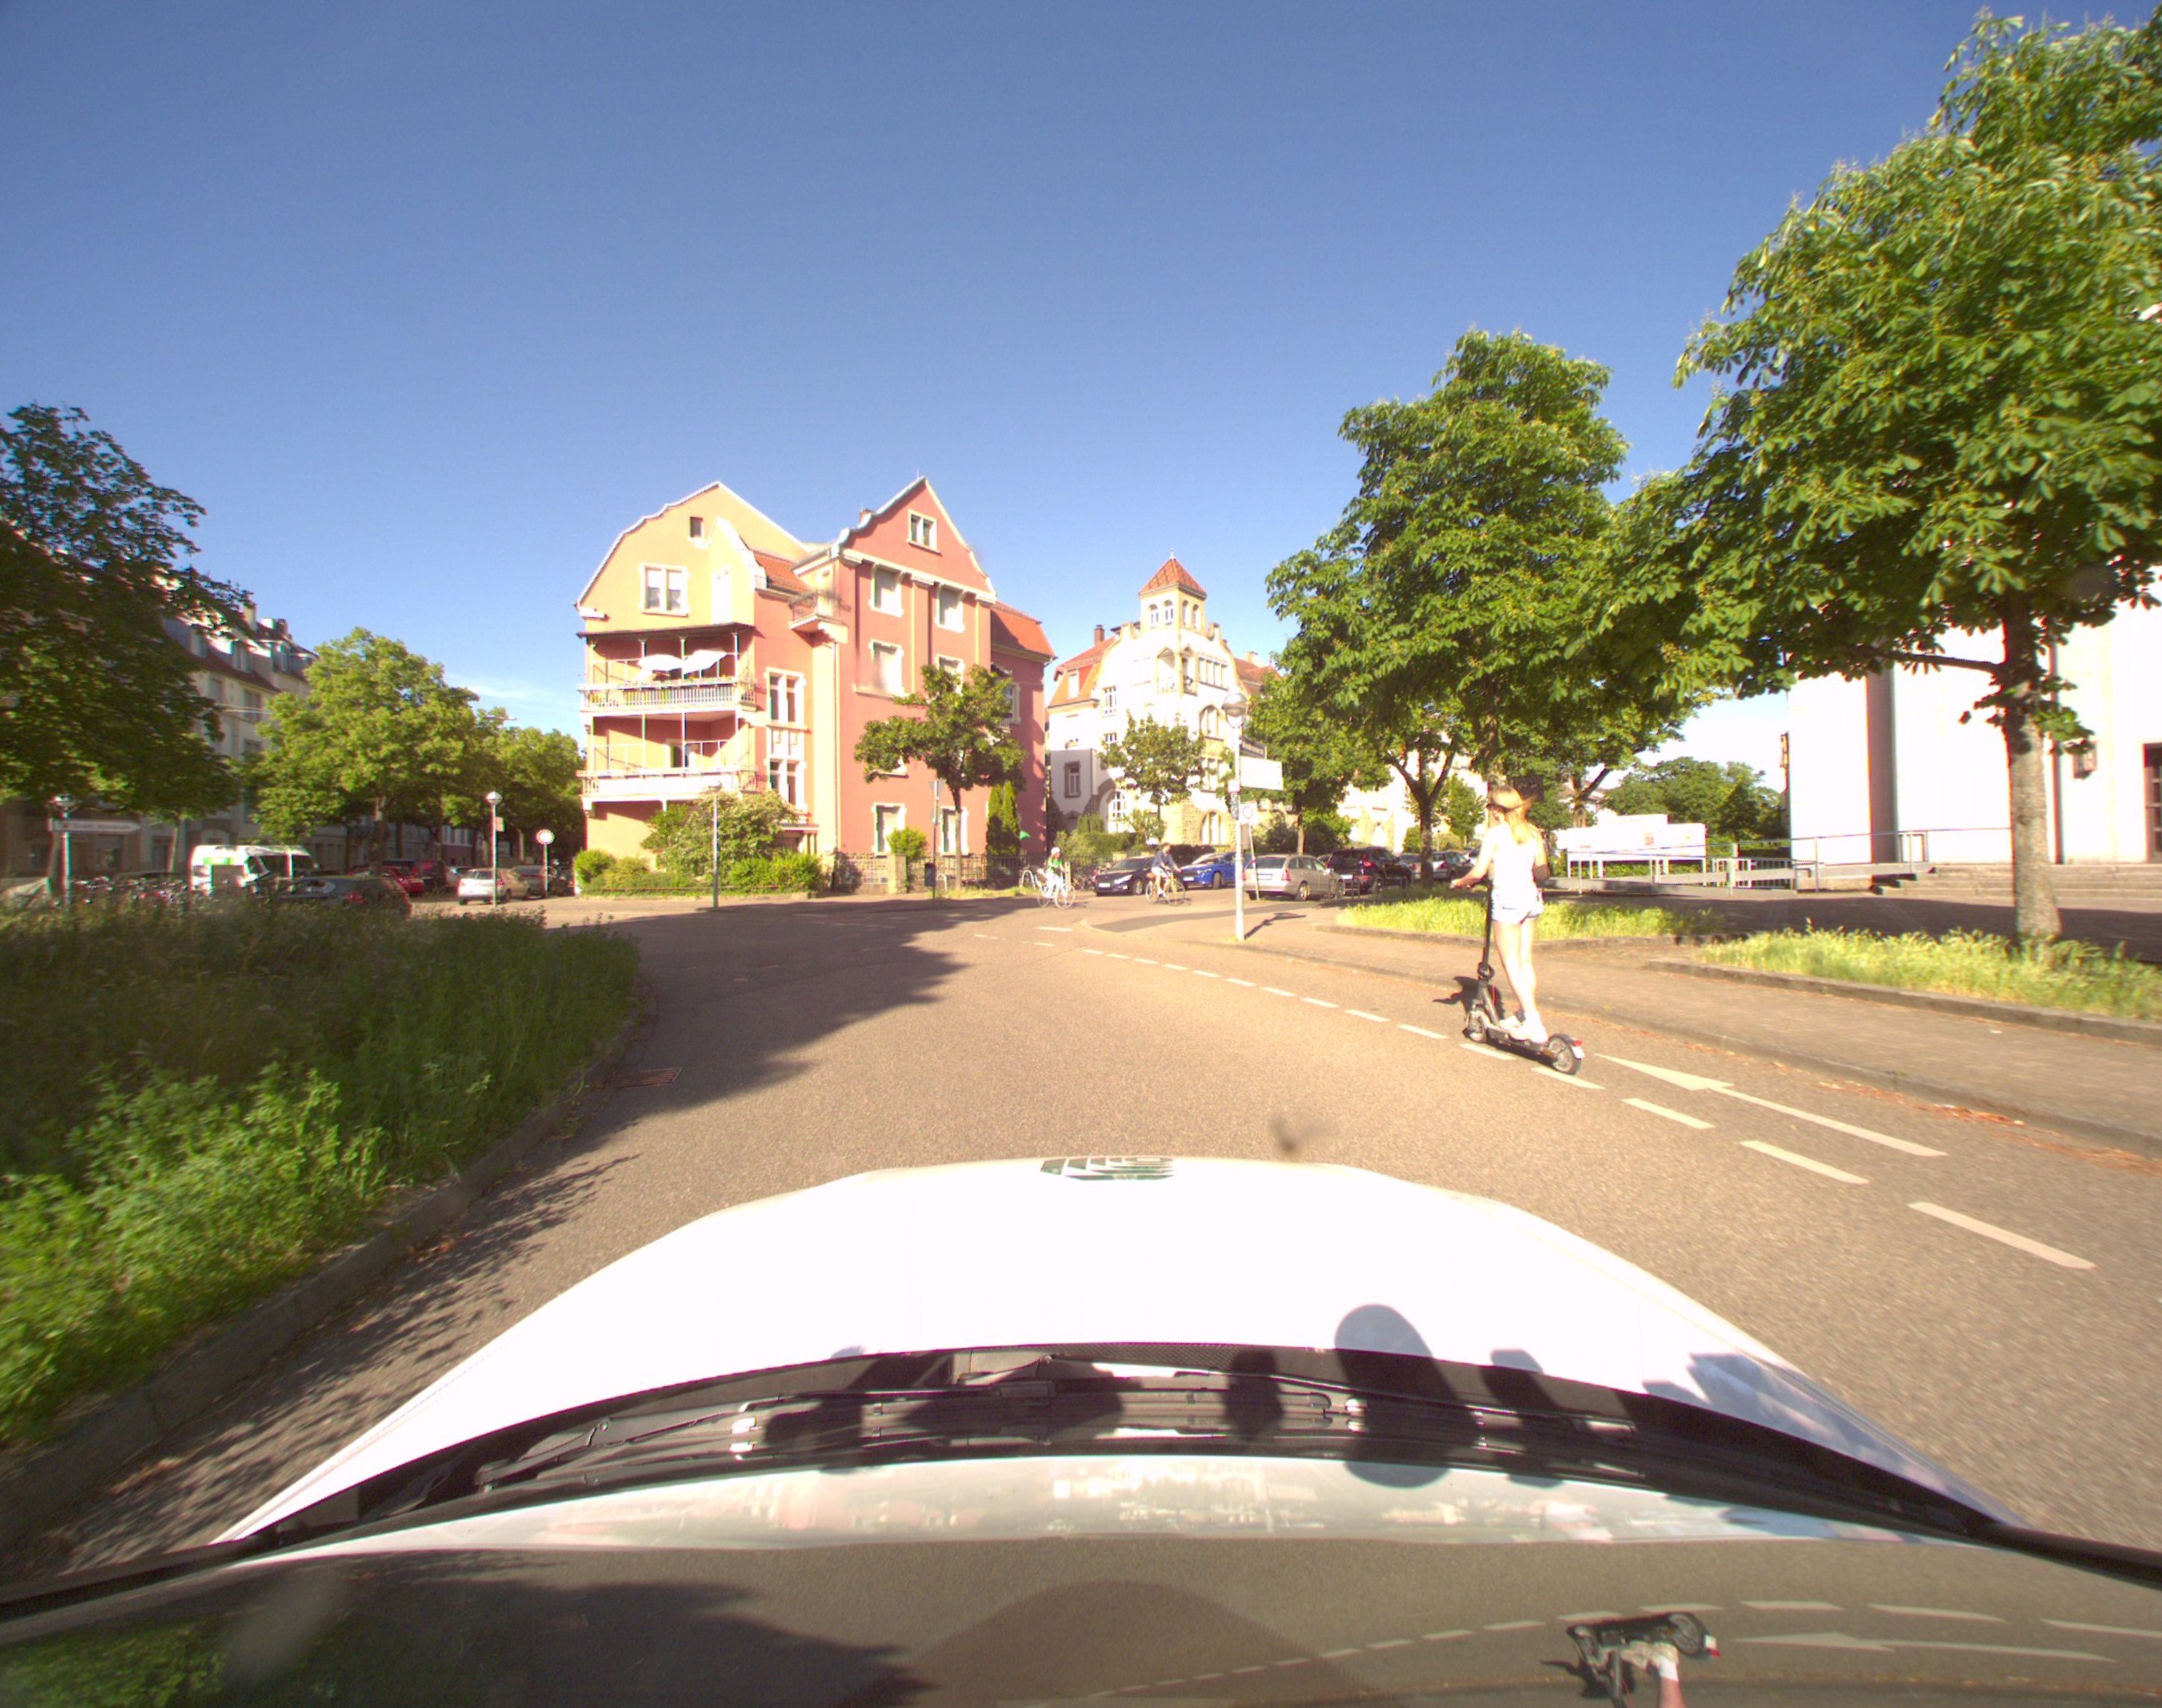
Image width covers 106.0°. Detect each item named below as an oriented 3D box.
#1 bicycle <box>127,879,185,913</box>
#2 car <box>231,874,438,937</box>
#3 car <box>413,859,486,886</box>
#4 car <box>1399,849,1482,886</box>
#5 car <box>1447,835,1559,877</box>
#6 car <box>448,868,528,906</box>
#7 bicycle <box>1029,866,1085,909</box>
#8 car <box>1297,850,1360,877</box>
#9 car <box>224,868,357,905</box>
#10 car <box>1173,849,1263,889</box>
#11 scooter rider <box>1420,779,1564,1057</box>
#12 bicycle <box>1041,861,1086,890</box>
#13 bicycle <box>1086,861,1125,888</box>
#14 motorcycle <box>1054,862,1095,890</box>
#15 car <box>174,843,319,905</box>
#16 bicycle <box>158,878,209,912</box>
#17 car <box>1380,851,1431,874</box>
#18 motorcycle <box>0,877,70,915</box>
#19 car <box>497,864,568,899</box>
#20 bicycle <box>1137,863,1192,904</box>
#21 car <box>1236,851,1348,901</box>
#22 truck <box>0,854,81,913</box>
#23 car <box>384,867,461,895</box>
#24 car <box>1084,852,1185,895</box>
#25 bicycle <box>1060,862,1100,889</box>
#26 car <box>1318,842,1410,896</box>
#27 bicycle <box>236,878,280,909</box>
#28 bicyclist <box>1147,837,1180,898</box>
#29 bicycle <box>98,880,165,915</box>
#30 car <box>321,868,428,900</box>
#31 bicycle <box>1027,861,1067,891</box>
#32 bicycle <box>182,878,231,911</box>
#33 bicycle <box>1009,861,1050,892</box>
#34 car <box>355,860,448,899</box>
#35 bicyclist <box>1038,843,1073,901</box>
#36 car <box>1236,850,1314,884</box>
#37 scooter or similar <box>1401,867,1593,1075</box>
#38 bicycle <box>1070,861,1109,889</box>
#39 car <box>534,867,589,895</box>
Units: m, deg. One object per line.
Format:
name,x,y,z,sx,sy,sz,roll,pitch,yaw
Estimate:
bicycle,-31.547,1.415,27.805,0.500,1.102,1.640,-2,0,-17
car,-19.238,1.295,21.072,3.962,1.419,1.877,0,2,10
car,-36.412,1.042,46.971,3.346,1.470,1.696,0,-1,18
car,15.491,0.547,35.010,4.364,1.474,1.787,0,0,-45
car,21.014,0.088,40.670,4.718,2.001,1.821,0,0,38
car,-24.267,1.296,33.462,1.688,1.447,3.522,1,-1,-20
bicycle,-0.679,0.918,22.559,0.598,1.107,1.843,-1,-1,-35
car,14.494,0.531,47.542,1.786,1.397,4.426,-4,-2,41
car,-31.939,1.294,32.967,3.891,1.447,1.690,0,-1,5
car,6.121,0.626,36.069,1.786,1.562,4.426,-4,-2,41
scooter rider,2.886,0.415,5.757,0.624,1.832,0.628,-1,0,-14
bicycle,-0.717,0.869,33.204,1.807,1.107,0.504,1,1,26
bicycle,1.060,0.862,35.388,1.705,1.107,0.519,1,1,39
motorcycle,-0.283,0.895,33.738,1.704,1.107,0.504,1,1,35
car,-37.297,0.856,36.388,6.301,2.600,2.114,0,-1,21
bicycle,-31.114,1.409,28.253,0.419,1.089,1.565,-2,0,-16
car,22.364,0.586,56.043,1.786,1.397,4.426,-4,-2,41
motorcycle,-35.502,1.413,27.505,1.709,1.270,0.535,0,0,-15
car,-25.687,1.249,38.285,1.688,1.562,4.266,1,-1,-20
bicycle,2.366,0.824,23.300,0.648,1.107,1.700,0,1,-32
car,6.587,0.616,25.142,1.786,1.416,4.366,0,0,37
truck,-43.809,1.199,32.220,2.139,2.292,6.578,-2,0,-19
car,-35.962,1.468,44.512,3.346,1.470,1.696,0,-1,18
car,2.168,0.734,31.816,1.786,1.483,4.366,-4,-2,37
bicycle,-0.034,0.892,34.219,1.704,1.107,0.504,1,1,35
car,10.068,0.479,28.742,1.786,1.728,4.366,0,0,37
bicycle,-30.441,1.439,30.141,0.419,1.086,1.518,-2,0,-16
bicyclist,2.361,0.373,23.299,0.648,1.714,0.716,0,0,-32
bicycle,-32.178,1.455,27.628,0.657,1.088,1.719,-2,0,-18
car,-32.887,1.397,37.980,3.368,1.447,1.684,0,-1,-6
bicycle,-1.371,0.878,32.597,1.705,1.115,0.549,1,1,42
bicycle,-30.771,1.410,28.677,0.419,1.086,1.518,-2,0,-16
bicycle,-2.027,0.868,31.917,1.705,1.115,0.549,1,1,42
car,-33.608,1.258,40.298,3.353,1.865,1.692,0,-1,9
bicyclist,-0.700,0.503,22.597,0.598,1.581,0.795,-1,-1,-35
car,9.594,0.619,40.011,1.786,1.450,4.426,-4,-2,41
scooter or similar,2.887,0.749,5.756,0.631,1.283,1.101,-1,0,-14
bicycle,0.367,0.885,34.687,1.705,1.107,0.504,1,1,39
car,-27.354,1.388,42.972,1.688,1.382,3.259,1,-1,-20
